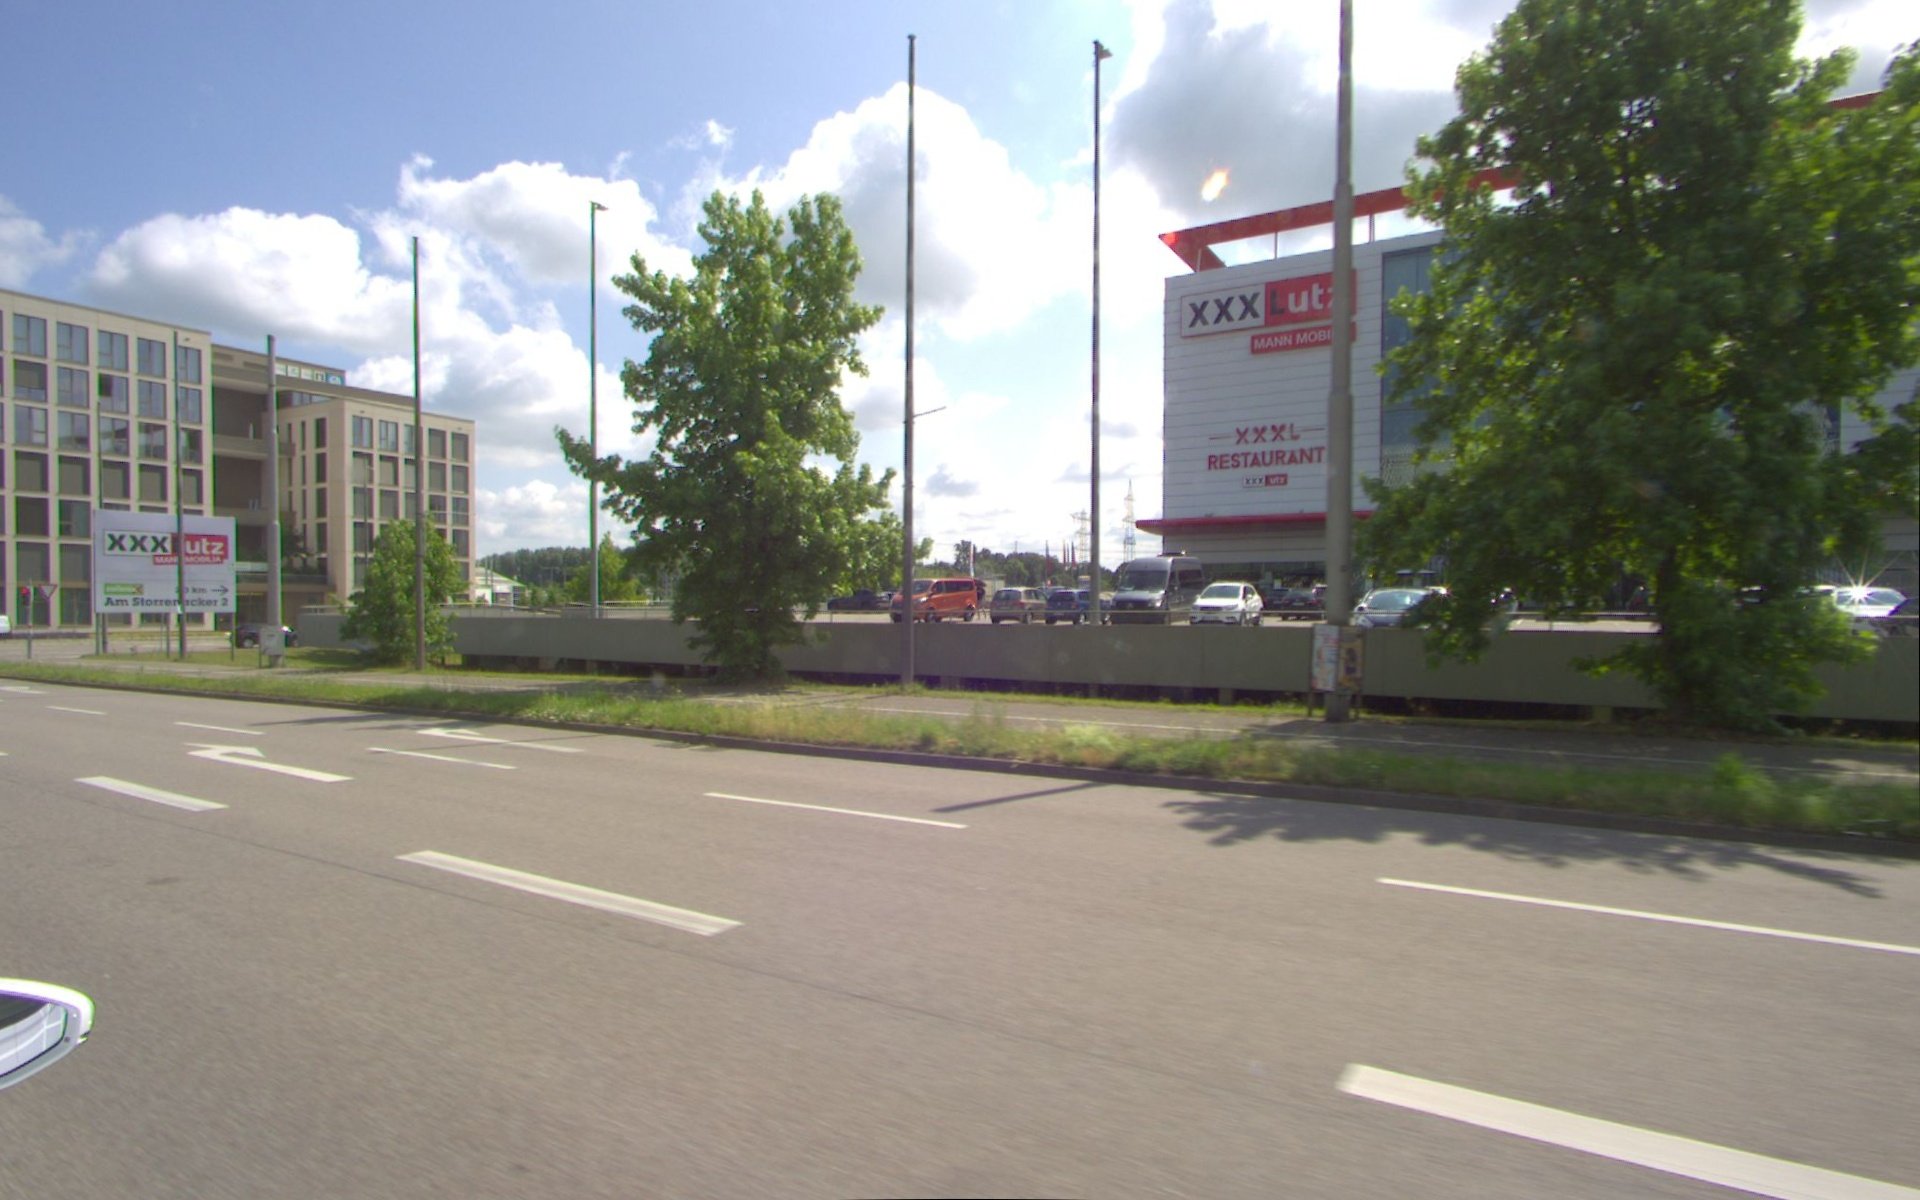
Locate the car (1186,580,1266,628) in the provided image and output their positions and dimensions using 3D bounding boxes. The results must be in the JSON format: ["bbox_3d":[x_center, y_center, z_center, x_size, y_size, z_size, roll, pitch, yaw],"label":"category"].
[{"bbox_3d":[9.186,0.169,34.415,1.721,1.534,3.983,-1,-1,29],"label":"car"}]

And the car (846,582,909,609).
[{"bbox_3d":[-5.713,-0.314,69.430,3.938,1.751,1.957,1,0,29],"label":"car"}]

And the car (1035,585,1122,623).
[{"bbox_3d":[5.091,0.209,42.549,1.957,1.503,4.862,0,-1,29],"label":"car"}]

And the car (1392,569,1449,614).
[{"bbox_3d":[20.212,-0.334,43.858,1.749,1.862,3.877,1,0,33],"label":"car"}]

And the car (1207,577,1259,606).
[{"bbox_3d":[14.618,-0.443,53.472,1.611,1.461,3.890,1,0,32],"label":"car"}]

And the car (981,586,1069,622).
[{"bbox_3d":[2.902,0.232,43.732,1.957,1.473,4.862,0,-1,29],"label":"car"}]

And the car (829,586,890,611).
[{"bbox_3d":[-6.772,-0.128,67.399,3.808,1.622,1.742,1,0,28],"label":"car"}]

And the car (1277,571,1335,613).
[{"bbox_3d":[16.104,-0.330,46.472,1.749,1.862,3.878,1,0,31],"label":"car"}]

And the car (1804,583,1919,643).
[{"bbox_3d":[22.975,0.267,25.149,1.863,1.408,4.179,1,1,28],"label":"car"}]

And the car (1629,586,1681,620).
[{"bbox_3d":[30.521,0.149,44.073,1.605,1.439,3.562,1,0,31],"label":"car"}]

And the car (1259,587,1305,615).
[{"bbox_3d":[17.031,0.069,52.851,1.530,1.388,3.431,1,0,32],"label":"car"}]

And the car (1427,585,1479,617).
[{"bbox_3d":[23.484,0.079,47.624,1.882,1.452,3.789,1,0,31],"label":"car"}]

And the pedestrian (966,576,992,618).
[{"bbox_3d":[0.935,-0.147,49.453,0.944,2.040,0.957,1,0,32],"label":"pedestrian"}]

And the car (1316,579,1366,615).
[{"bbox_3d":[19.367,-0.135,50.880,1.723,1.728,3.736,1,0,31],"label":"car"}]

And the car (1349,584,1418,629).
[{"bbox_3d":[15.024,0.182,35.380,1.700,1.454,4.176,1,1,31],"label":"car"}]

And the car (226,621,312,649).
[{"bbox_3d":[-42.629,2.107,61.815,1.609,1.524,4.119,1,2,44],"label":"car"}]

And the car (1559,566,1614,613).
[{"bbox_3d":[27.692,-0.433,44.341,1.971,1.977,3.981,1,0,31],"label":"car"}]

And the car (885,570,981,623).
[{"bbox_3d":[-1.149,-0.092,46.030,1.957,2.223,5.154,0,-2,31],"label":"car"}]

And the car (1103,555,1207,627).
[{"bbox_3d":[7.171,-0.245,36.338,2.030,2.397,5.652,0,-1,29],"label":"car"}]

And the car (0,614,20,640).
[{"bbox_3d":[-61.366,1.684,62.808,1.313,1.425,3.268,11,5,31],"label":"car"}]

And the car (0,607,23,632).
[{"bbox_3d":[-65.402,1.279,65.983,1.970,1.628,4.976,1,0,31],"label":"car"}]
